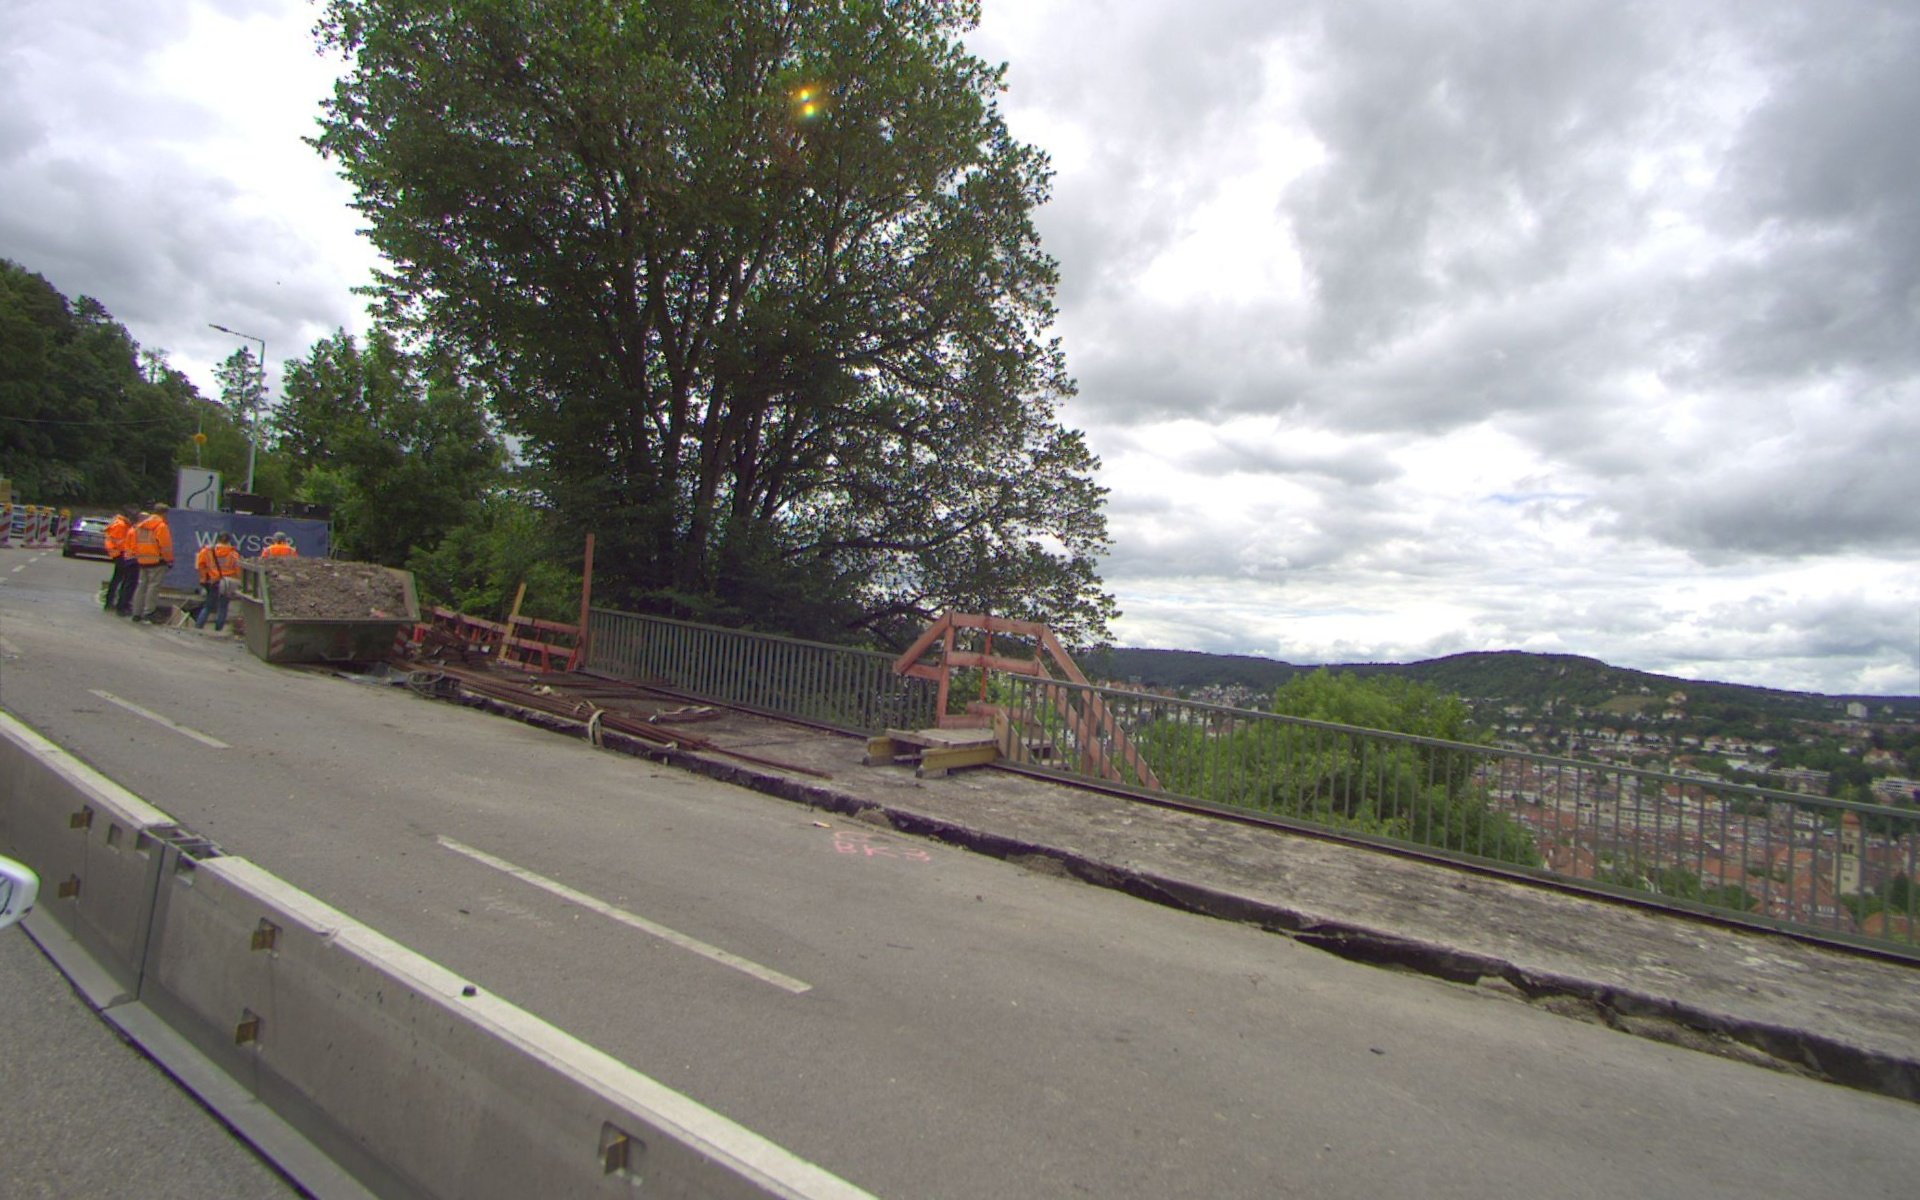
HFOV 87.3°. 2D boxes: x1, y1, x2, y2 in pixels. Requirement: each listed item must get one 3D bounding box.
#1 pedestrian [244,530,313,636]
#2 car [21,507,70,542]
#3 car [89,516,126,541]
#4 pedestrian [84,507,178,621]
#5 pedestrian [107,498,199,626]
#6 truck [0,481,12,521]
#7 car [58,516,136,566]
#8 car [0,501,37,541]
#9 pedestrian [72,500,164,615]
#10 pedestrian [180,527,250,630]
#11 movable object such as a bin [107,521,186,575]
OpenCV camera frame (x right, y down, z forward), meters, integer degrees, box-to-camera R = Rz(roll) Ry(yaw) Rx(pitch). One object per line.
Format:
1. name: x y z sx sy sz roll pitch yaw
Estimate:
1. pedestrian: -11.826 -0.291 17.444 0.779 1.707 0.777 8 -1 -37
2. car: -53.189 -4.374 58.558 1.803 1.682 3.956 8 -1 -40
3. car: -59.229 -4.980 69.872 1.788 1.383 3.955 9 -2 -41
4. pedestrian: -13.968 -0.604 16.949 0.865 1.751 0.876 7 -1 37
5. pedestrian: -13.110 -0.607 16.346 0.811 1.929 0.692 7 -1 24
6. truck: -81.219 -8.420 83.432 2.891 3.192 7.505 8 -2 -38
7. car: -29.937 -2.055 34.986 1.787 1.383 3.957 9 -2 -39
8. car: -45.403 -3.812 47.918 1.803 1.682 3.956 8 -1 -40
9. pedestrian: -14.710 -0.741 17.586 0.865 1.843 0.876 7 -1 37
10. pedestrian: -12.662 -0.365 17.107 0.779 1.627 0.660 8 -1 -38
11. movable object such as a bin: -26.657 -1.716 32.957 1.876 1.441 1.396 7 -2 34
